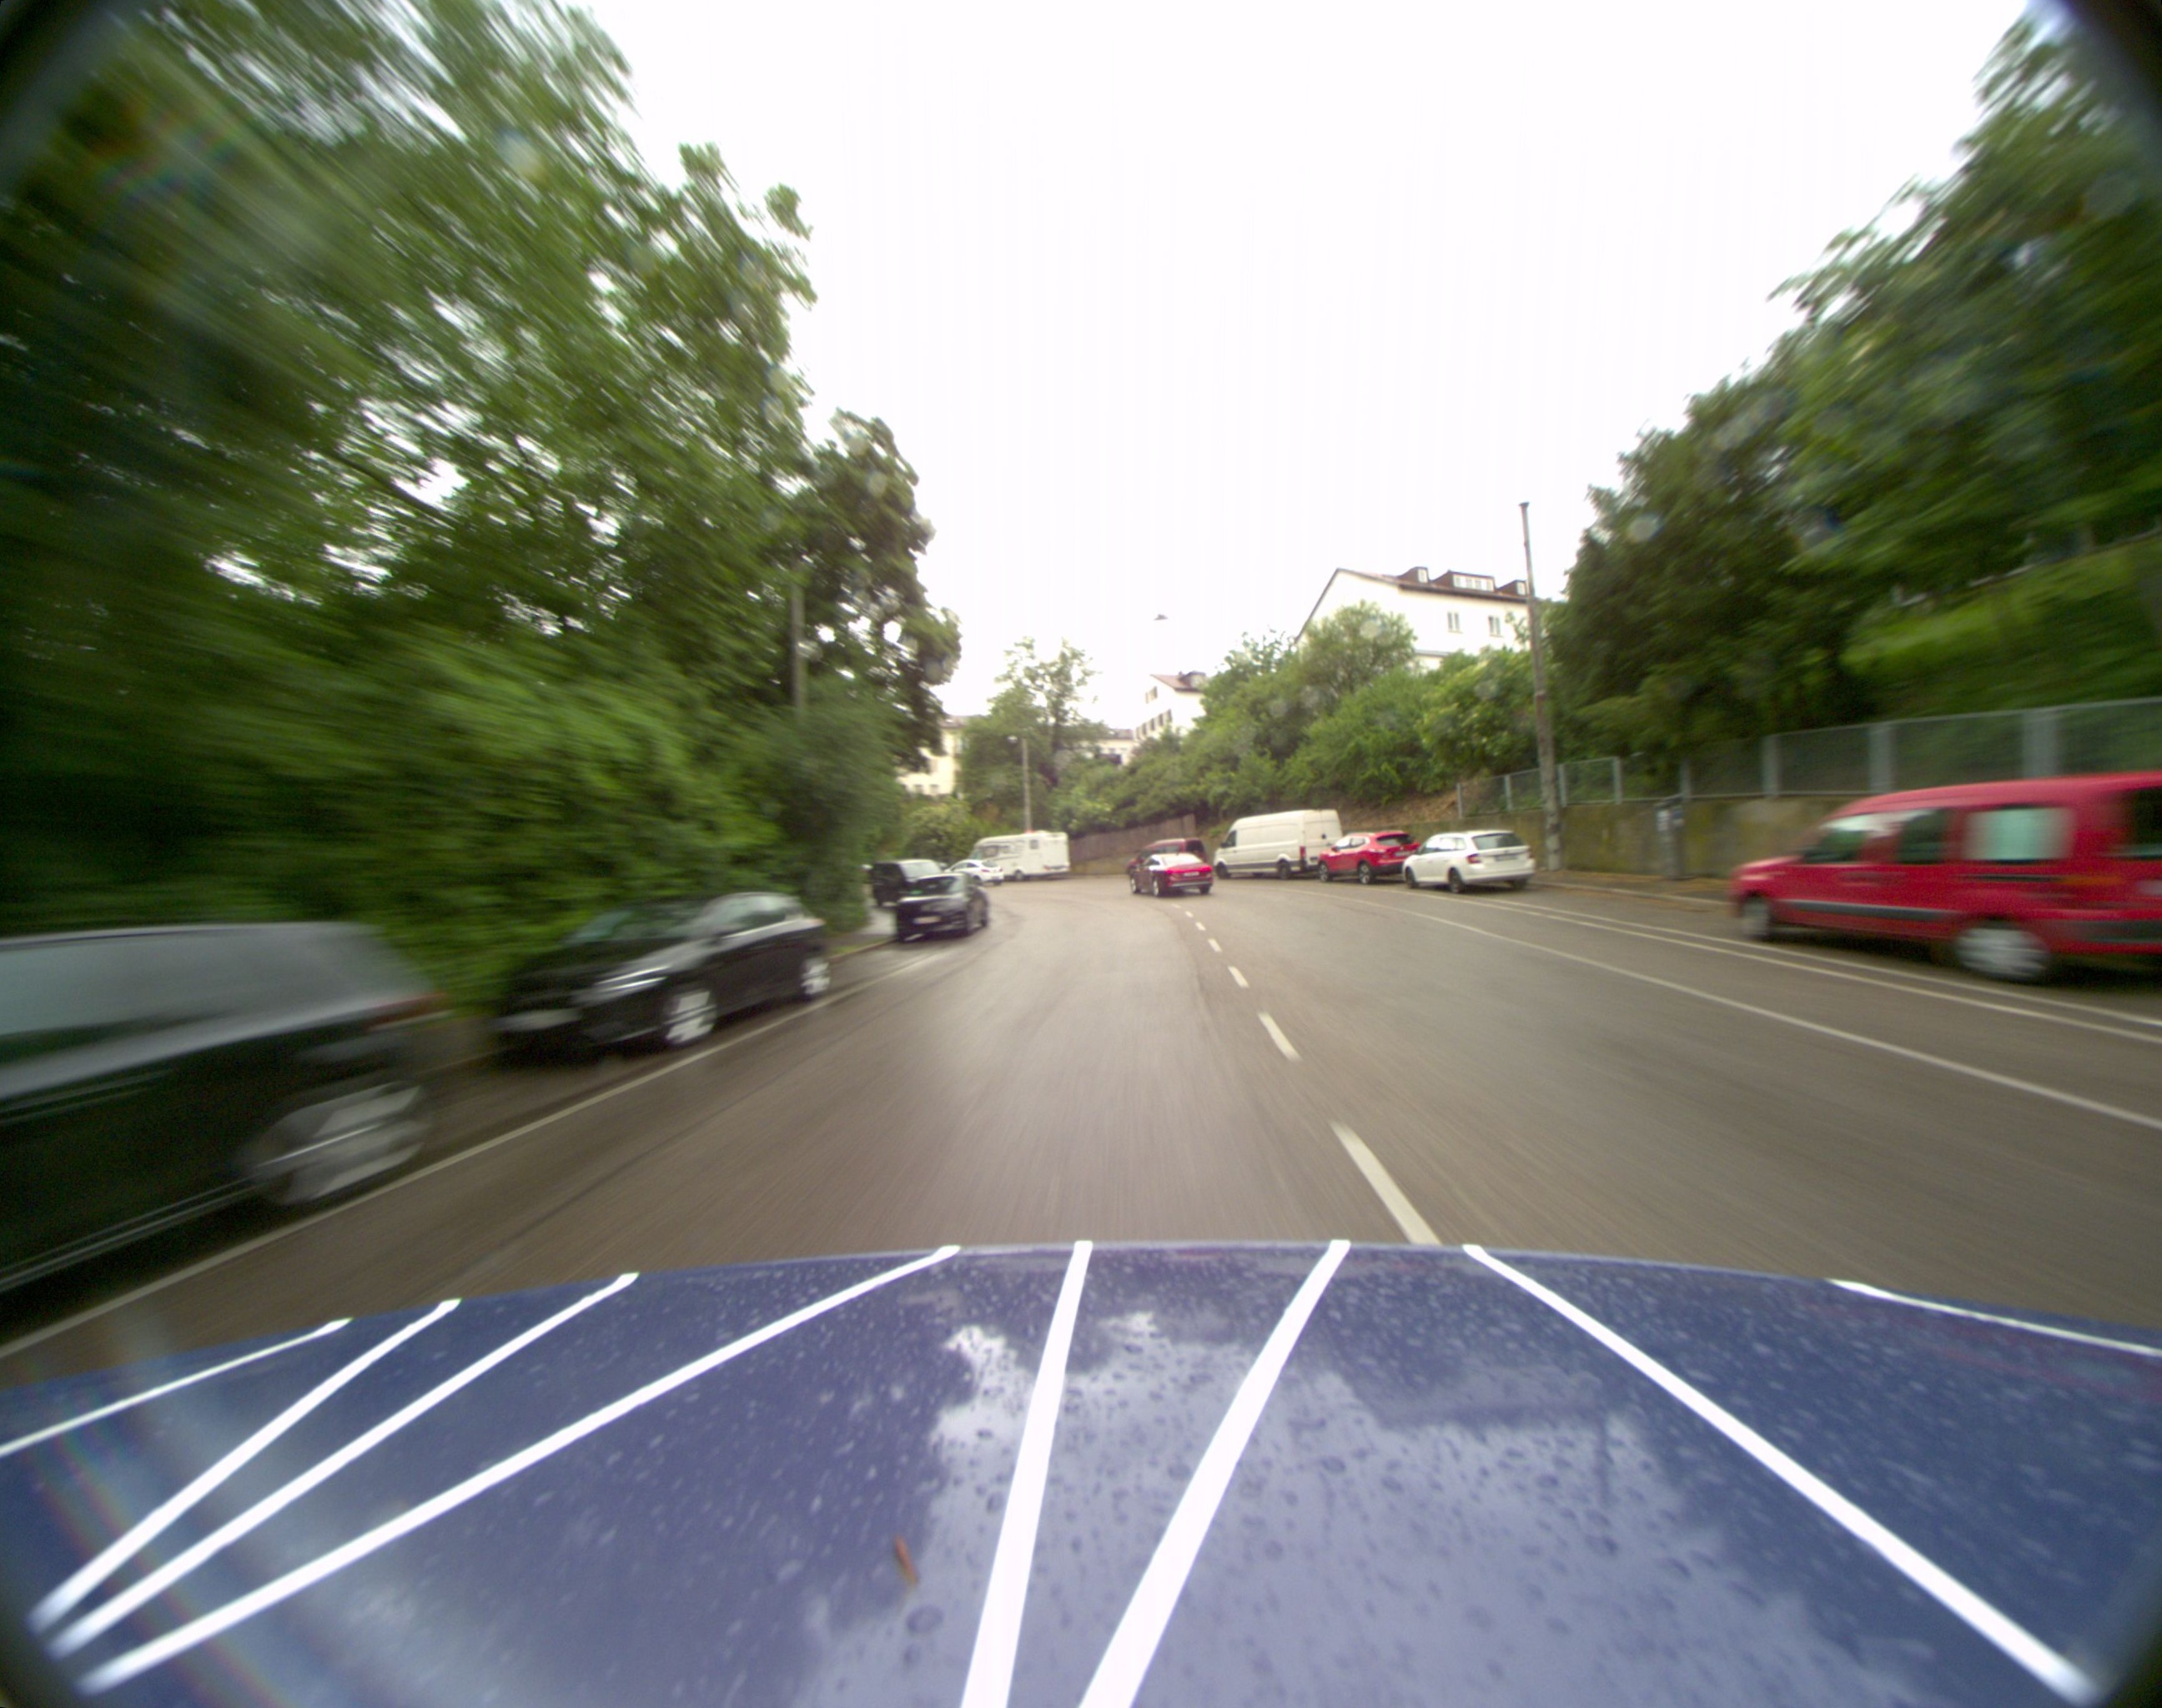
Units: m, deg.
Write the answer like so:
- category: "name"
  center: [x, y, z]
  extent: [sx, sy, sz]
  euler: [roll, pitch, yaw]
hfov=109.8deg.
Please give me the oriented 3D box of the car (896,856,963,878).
- category: "car"
  center: [-10.144, 0.850, 50.873]
  extent: [4.121, 1.403, 1.918]
  euler: [0, 1, 26]

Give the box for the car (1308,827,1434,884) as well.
- category: "car"
  center: [9.324, 0.034, 24.861]
  extent: [1.781, 1.576, 4.429]
  euler: [-4, 1, -9]

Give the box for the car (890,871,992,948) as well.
- category: "car"
  center: [-3.366, 1.290, 18.934]
  extent: [1.630, 1.479, 3.745]
  euler: [-5, 0, 1]

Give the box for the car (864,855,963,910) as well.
- category: "car"
  center: [-6.848, 1.081, 30.621]
  extent: [2.003, 1.876, 5.024]
  euler: [-6, 2, -35]

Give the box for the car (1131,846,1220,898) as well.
- category: "car"
  center: [3.219, 0.566, 26.902]
  extent: [1.873, 1.508, 4.480]
  euler: [-6, 2, -8]

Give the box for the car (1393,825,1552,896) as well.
- category: "car"
  center: [9.744, 0.138, 19.318]
  extent: [1.742, 1.470, 4.198]
  euler: [-5, 0, 0]

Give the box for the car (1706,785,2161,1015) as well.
- category: "car"
  center: [8.928, 0.265, 7.862]
  extent: [1.754, 1.758, 4.137]
  euler: [-3, 2, 5]

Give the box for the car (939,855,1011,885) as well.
- category: "car"
  center: [-5.945, 0.917, 42.287]
  extent: [4.022, 1.486, 1.610]
  euler: [-3, 0, 40]

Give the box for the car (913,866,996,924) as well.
- category: "car"
  center: [-4.297, 1.276, 25.248]
  extent: [1.908, 1.480, 4.867]
  euler: [-5, 2, -18]

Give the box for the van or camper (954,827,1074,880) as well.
- category: "van or camper"
  center: [-4.246, -0.004, 47.100]
  extent: [7.505, 2.950, 2.463]
  euler: [-2, 2, 37]

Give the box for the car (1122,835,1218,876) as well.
- category: "car"
  center: [4.439, 0.113, 38.762]
  extent: [2.003, 1.865, 4.810]
  euler: [-5, 1, -37]

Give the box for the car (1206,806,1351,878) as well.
- category: "car"
  center: [7.816, -0.408, 31.104]
  extent: [2.043, 2.516, 6.811]
  euler: [-5, 1, -21]

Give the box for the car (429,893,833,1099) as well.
- category: "car"
  center: [-4.287, 1.265, 8.054]
  extent: [1.593, 1.381, 3.824]
  euler: [-5, -1, 7]

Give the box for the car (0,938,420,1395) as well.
- category: "car"
  center: [-4.590, 1.177, 2.178]
  extent: [1.663, 1.415, 3.970]
  euler: [-3, -1, 5]
